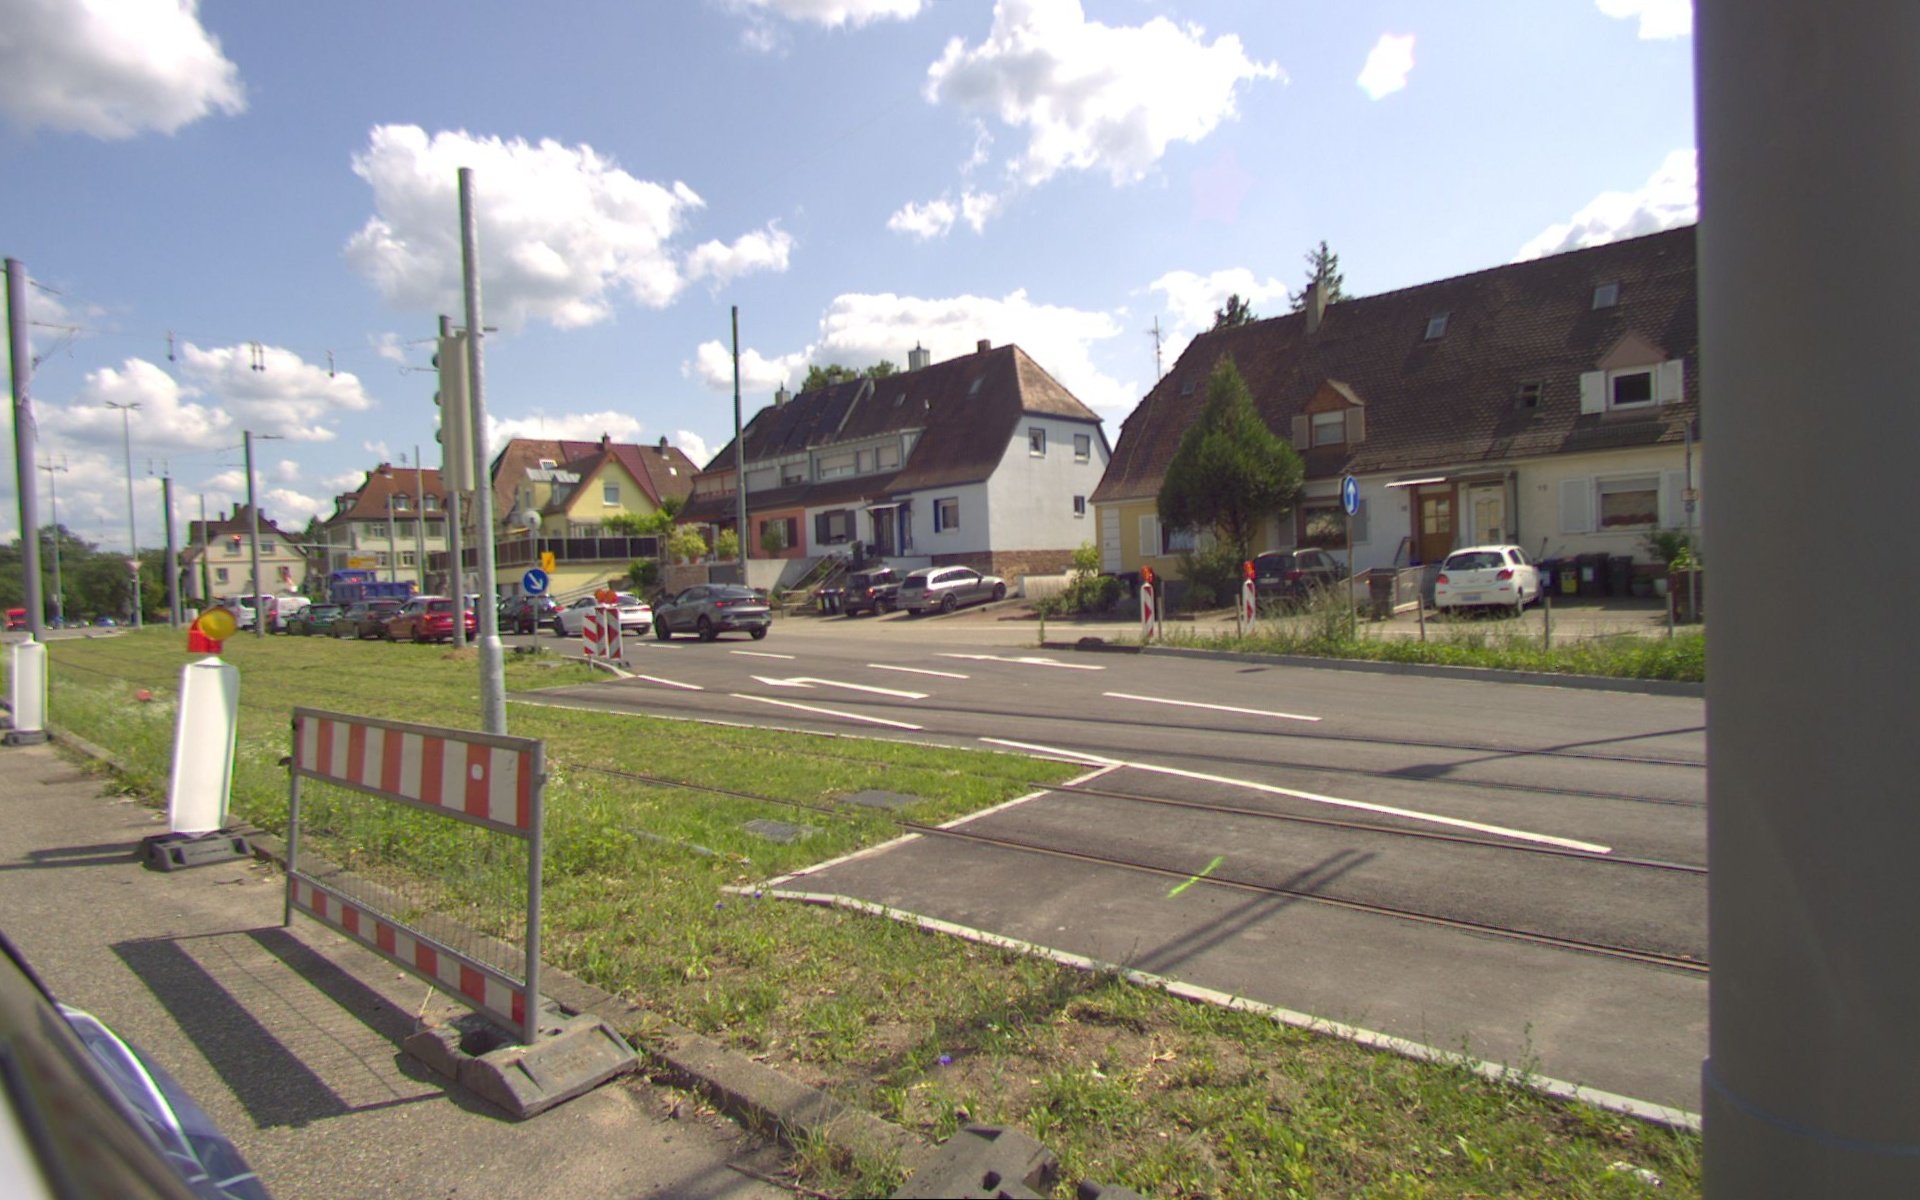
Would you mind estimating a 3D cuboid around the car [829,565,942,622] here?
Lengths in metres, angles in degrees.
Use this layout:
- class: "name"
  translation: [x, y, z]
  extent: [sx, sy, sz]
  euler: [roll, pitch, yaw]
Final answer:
- class: "car"
  translation: [-2.640, -0.251, 36.621]
  extent: [1.801, 1.859, 3.947]
  euler: [-2, 1, 40]

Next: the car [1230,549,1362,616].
- class: "car"
  translation: [8.767, -0.475, 26.263]
  extent: [1.707, 1.556, 3.841]
  euler: [-1, 1, 44]

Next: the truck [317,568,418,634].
- class: "truck"
  translation: [-31.756, 0.075, 54.086]
  extent: [2.803, 3.177, 7.940]
  euler: [-3, 1, -44]

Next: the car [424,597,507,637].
- class: "car"
  translation: [-21.232, 0.714, 43.386]
  extent: [4.543, 1.574, 1.706]
  euler: [-1, 1, 44]

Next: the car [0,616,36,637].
- class: "car"
  translation: [-89.796, 2.503, 96.402]
  extent: [2.251, 1.886, 4.994]
  euler: [-3, 1, -40]

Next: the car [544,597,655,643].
- class: "car"
  translation: [-11.968, 0.640, 33.416]
  extent: [1.705, 1.344, 4.545]
  euler: [-3, 1, -44]

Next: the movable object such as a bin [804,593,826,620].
- class: "movable object such as a bin"
  translation: [-5.432, 0.238, 37.914]
  extent: [0.582, 0.959, 0.511]
  euler: [-1, 1, 42]

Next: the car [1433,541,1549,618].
- class: "car"
  translation: [11.956, -0.485, 22.672]
  extent: [1.757, 1.556, 3.916]
  euler: [-2, 1, 35]

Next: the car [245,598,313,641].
- class: "car"
  translation: [-32.660, 0.926, 48.482]
  extent: [4.542, 1.868, 1.707]
  euler: [-1, 1, 43]

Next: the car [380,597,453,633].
- class: "car"
  translation: [-26.236, 0.730, 48.765]
  extent: [4.542, 1.574, 1.707]
  euler: [-1, 1, 43]

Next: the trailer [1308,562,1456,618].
- class: "trailer"
  translation: [10.323, -0.270, 24.528]
  extent: [1.959, 1.133, 4.872]
  euler: [-2, 1, 40]

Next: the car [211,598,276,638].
- class: "car"
  translation: [-38.050, 0.943, 53.711]
  extent: [4.542, 1.979, 1.897]
  euler: [-1, 1, 43]

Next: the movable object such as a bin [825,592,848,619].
- class: "movable object such as a bin"
  translation: [-4.528, 0.219, 37.084]
  extent: [0.610, 0.959, 0.511]
  euler: [-1, 1, 42]

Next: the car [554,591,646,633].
- class: "car"
  translation: [-14.926, 0.496, 41.820]
  extent: [4.543, 1.574, 1.706]
  euler: [-1, 1, 44]

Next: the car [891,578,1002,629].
- class: "car"
  translation: [-0.420, 0.105, 34.777]
  extent: [1.680, 1.566, 3.839]
  euler: [-2, 1, 40]

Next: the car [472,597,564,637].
- class: "car"
  translation: [-16.892, 0.636, 38.543]
  extent: [1.705, 1.344, 4.545]
  euler: [-3, 1, -44]

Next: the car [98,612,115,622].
- class: "car"
  translation: [-135.179, 2.703, 160.245]
  extent: [1.697, 1.603, 4.175]
  euler: [-3, 1, -44]

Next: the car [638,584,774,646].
- class: "car"
  translation: [-7.197, 0.416, 28.372]
  extent: [1.704, 1.538, 4.777]
  euler: [-3, 1, -41]

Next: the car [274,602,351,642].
- class: "car"
  translation: [-28.029, 0.938, 43.725]
  extent: [4.542, 1.574, 1.707]
  euler: [-1, 1, 43]

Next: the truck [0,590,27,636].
- class: "truck"
  translation: [-115.480, 1.624, 122.329]
  extent: [3.426, 5.222, 14.235]
  euler: [-3, 1, -42]

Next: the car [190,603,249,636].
- class: "car"
  translation: [-42.788, 1.128, 58.423]
  extent: [4.542, 1.794, 1.897]
  euler: [-1, 1, 43]

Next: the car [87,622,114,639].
- class: "car"
  translation: [-101.449, 3.564, 119.507]
  extent: [2.250, 1.886, 4.994]
  euler: [-3, 1, -39]

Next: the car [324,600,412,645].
- class: "car"
  translation: [-22.701, 0.850, 38.723]
  extent: [4.646, 1.574, 1.706]
  euler: [-1, 1, 44]

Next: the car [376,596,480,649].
- class: "car"
  translation: [-17.810, 0.741, 33.781]
  extent: [4.543, 1.574, 1.706]
  euler: [-1, 1, 44]

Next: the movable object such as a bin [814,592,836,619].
- class: "movable object such as a bin"
  translation: [-5.003, 0.217, 37.520]
  extent: [0.582, 0.959, 0.511]
  euler: [-1, 1, 42]
